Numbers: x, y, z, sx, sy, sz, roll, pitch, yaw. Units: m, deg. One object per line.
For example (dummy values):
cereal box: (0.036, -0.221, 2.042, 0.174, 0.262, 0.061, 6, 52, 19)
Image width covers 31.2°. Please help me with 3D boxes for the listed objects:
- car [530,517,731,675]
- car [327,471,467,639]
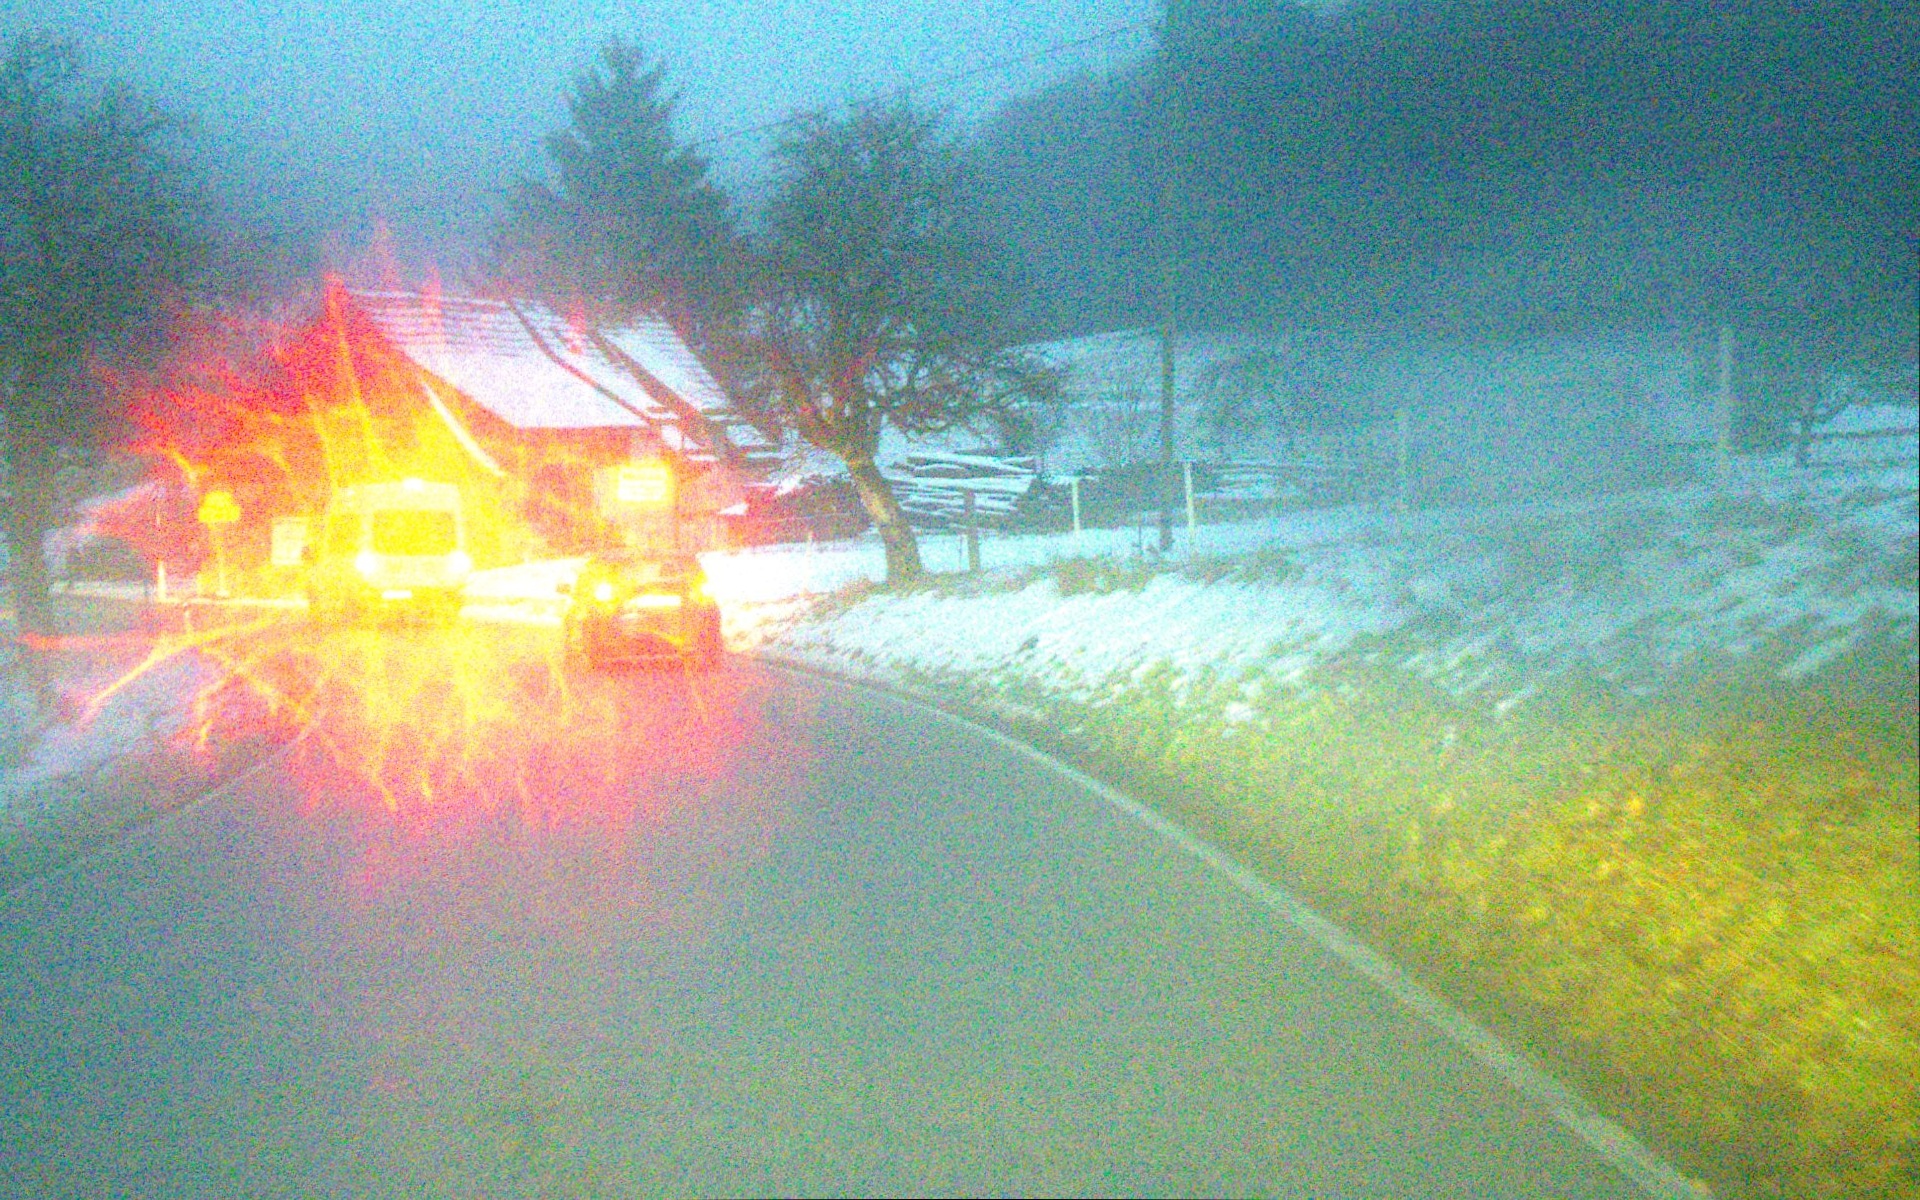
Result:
car: (-4.345, -0.069, 44.623, 2.273, 1.834, 5.008, -2, 1, -8)
car: (-10.743, -0.823, 65.280, 2.434, 3.008, 5.326, -1, 0, -11)
